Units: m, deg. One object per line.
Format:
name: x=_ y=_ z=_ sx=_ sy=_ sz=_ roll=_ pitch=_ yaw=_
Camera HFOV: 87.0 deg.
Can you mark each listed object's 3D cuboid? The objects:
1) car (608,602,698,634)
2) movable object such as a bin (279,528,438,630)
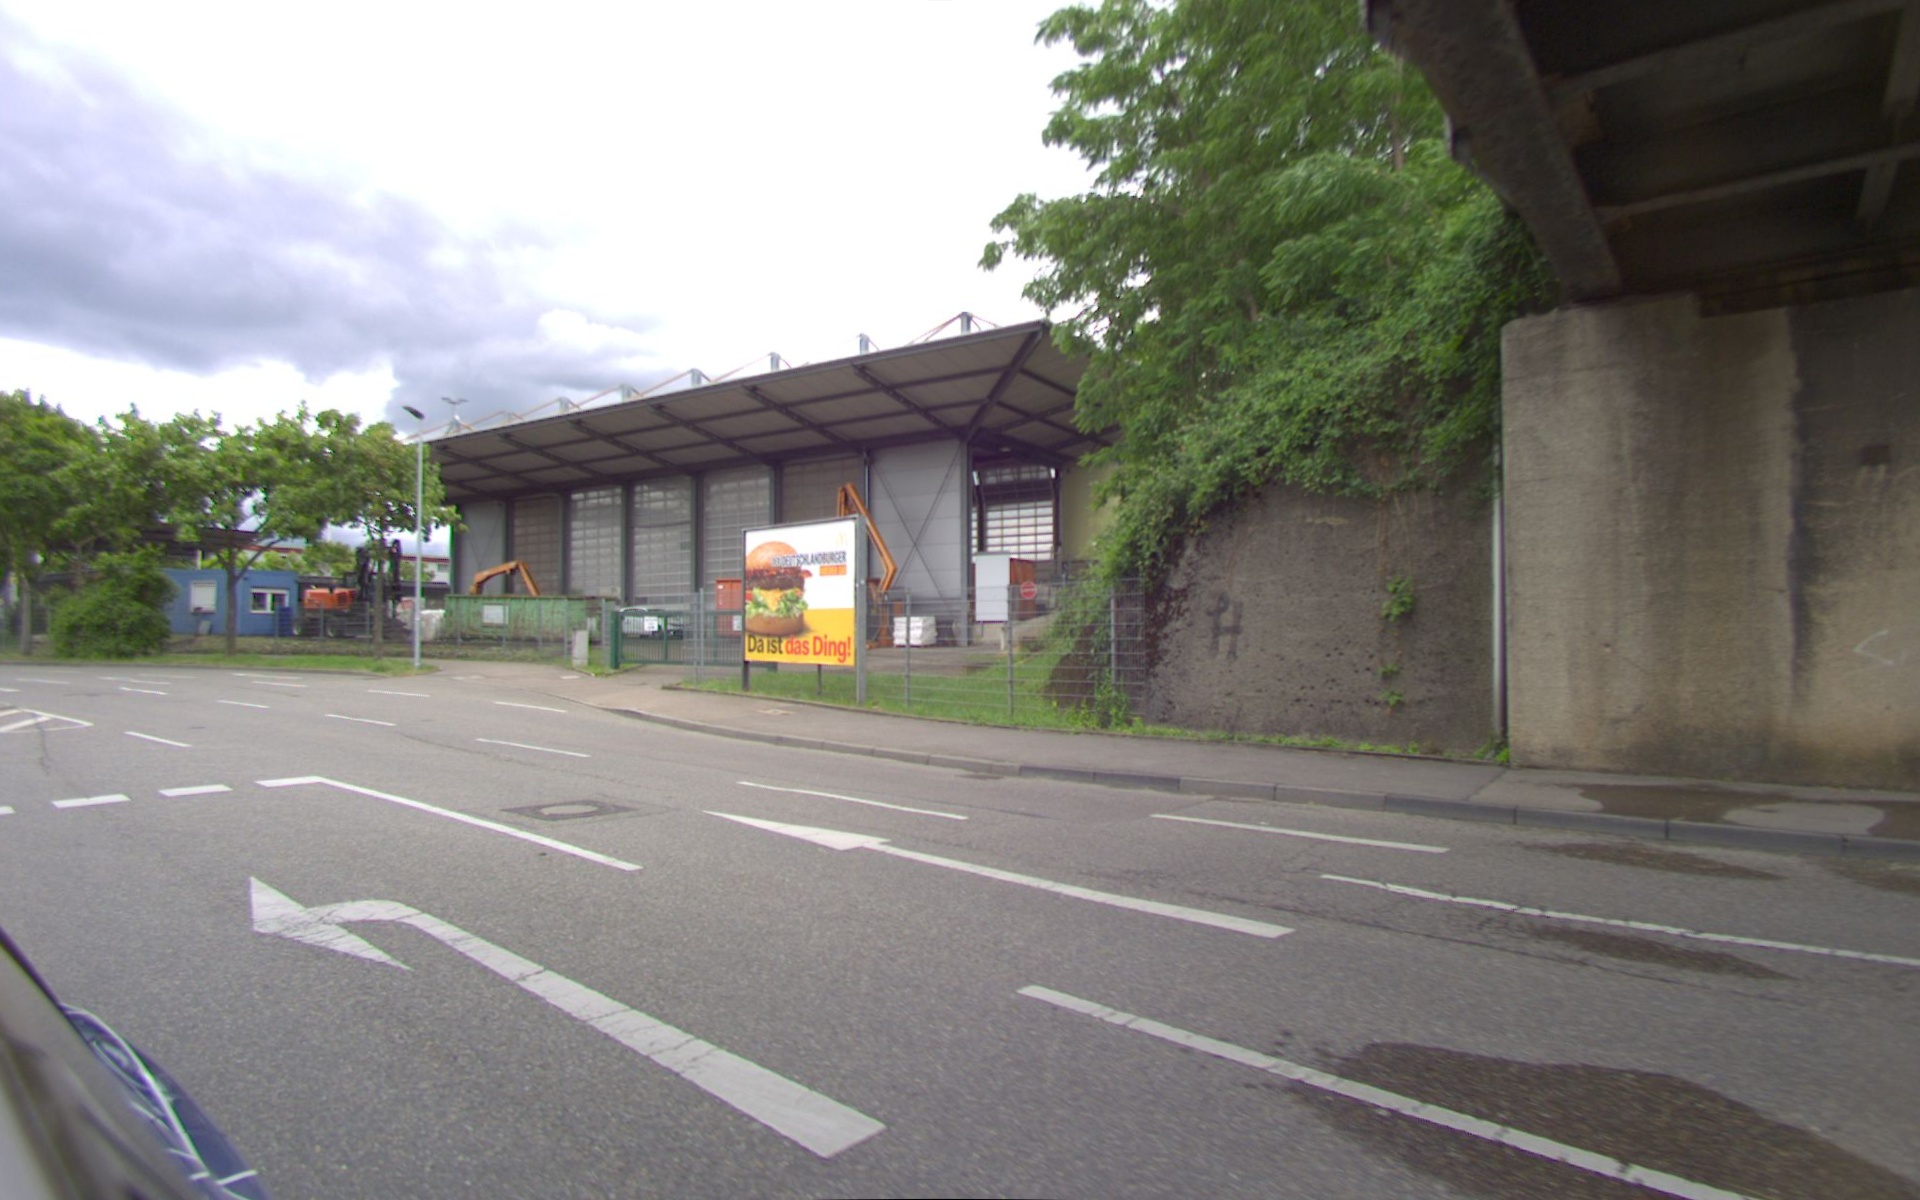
car: x=-13.891 y=0.814 z=45.781 sx=3.988 sy=1.384 sz=1.719 roll=0 pitch=-2 yaw=33
movable object such as a bin: x=-26.100 y=-0.773 z=43.897 sx=6.515 sy=4.122 sz=2.710 roll=-1 pitch=-3 yaw=25
